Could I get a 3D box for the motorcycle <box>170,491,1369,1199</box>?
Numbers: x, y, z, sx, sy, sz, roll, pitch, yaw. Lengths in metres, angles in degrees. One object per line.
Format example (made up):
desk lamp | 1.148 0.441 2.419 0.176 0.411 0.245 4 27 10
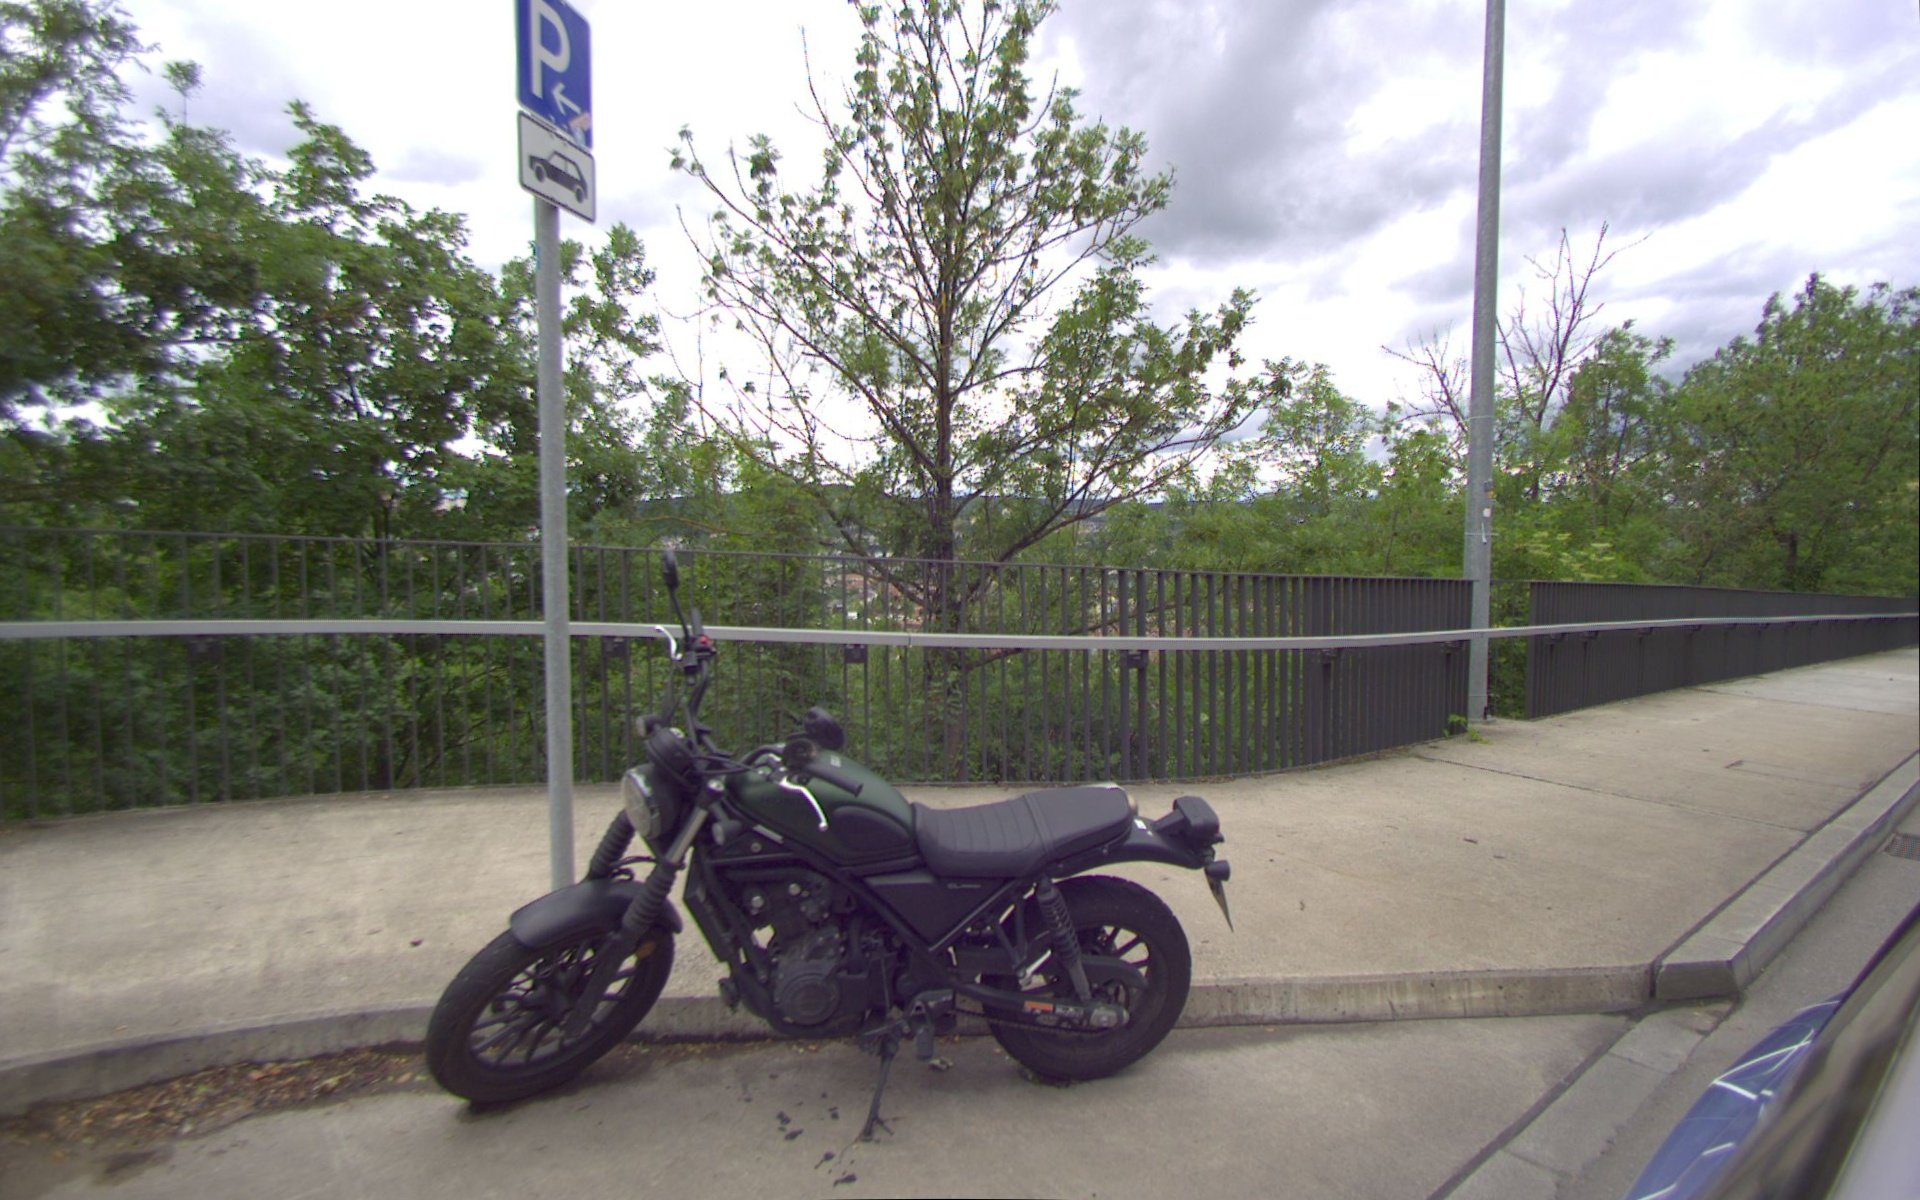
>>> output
motorcycle | -0.339 0.544 2.501 2.452 1.486 0.773 1 1 -12
